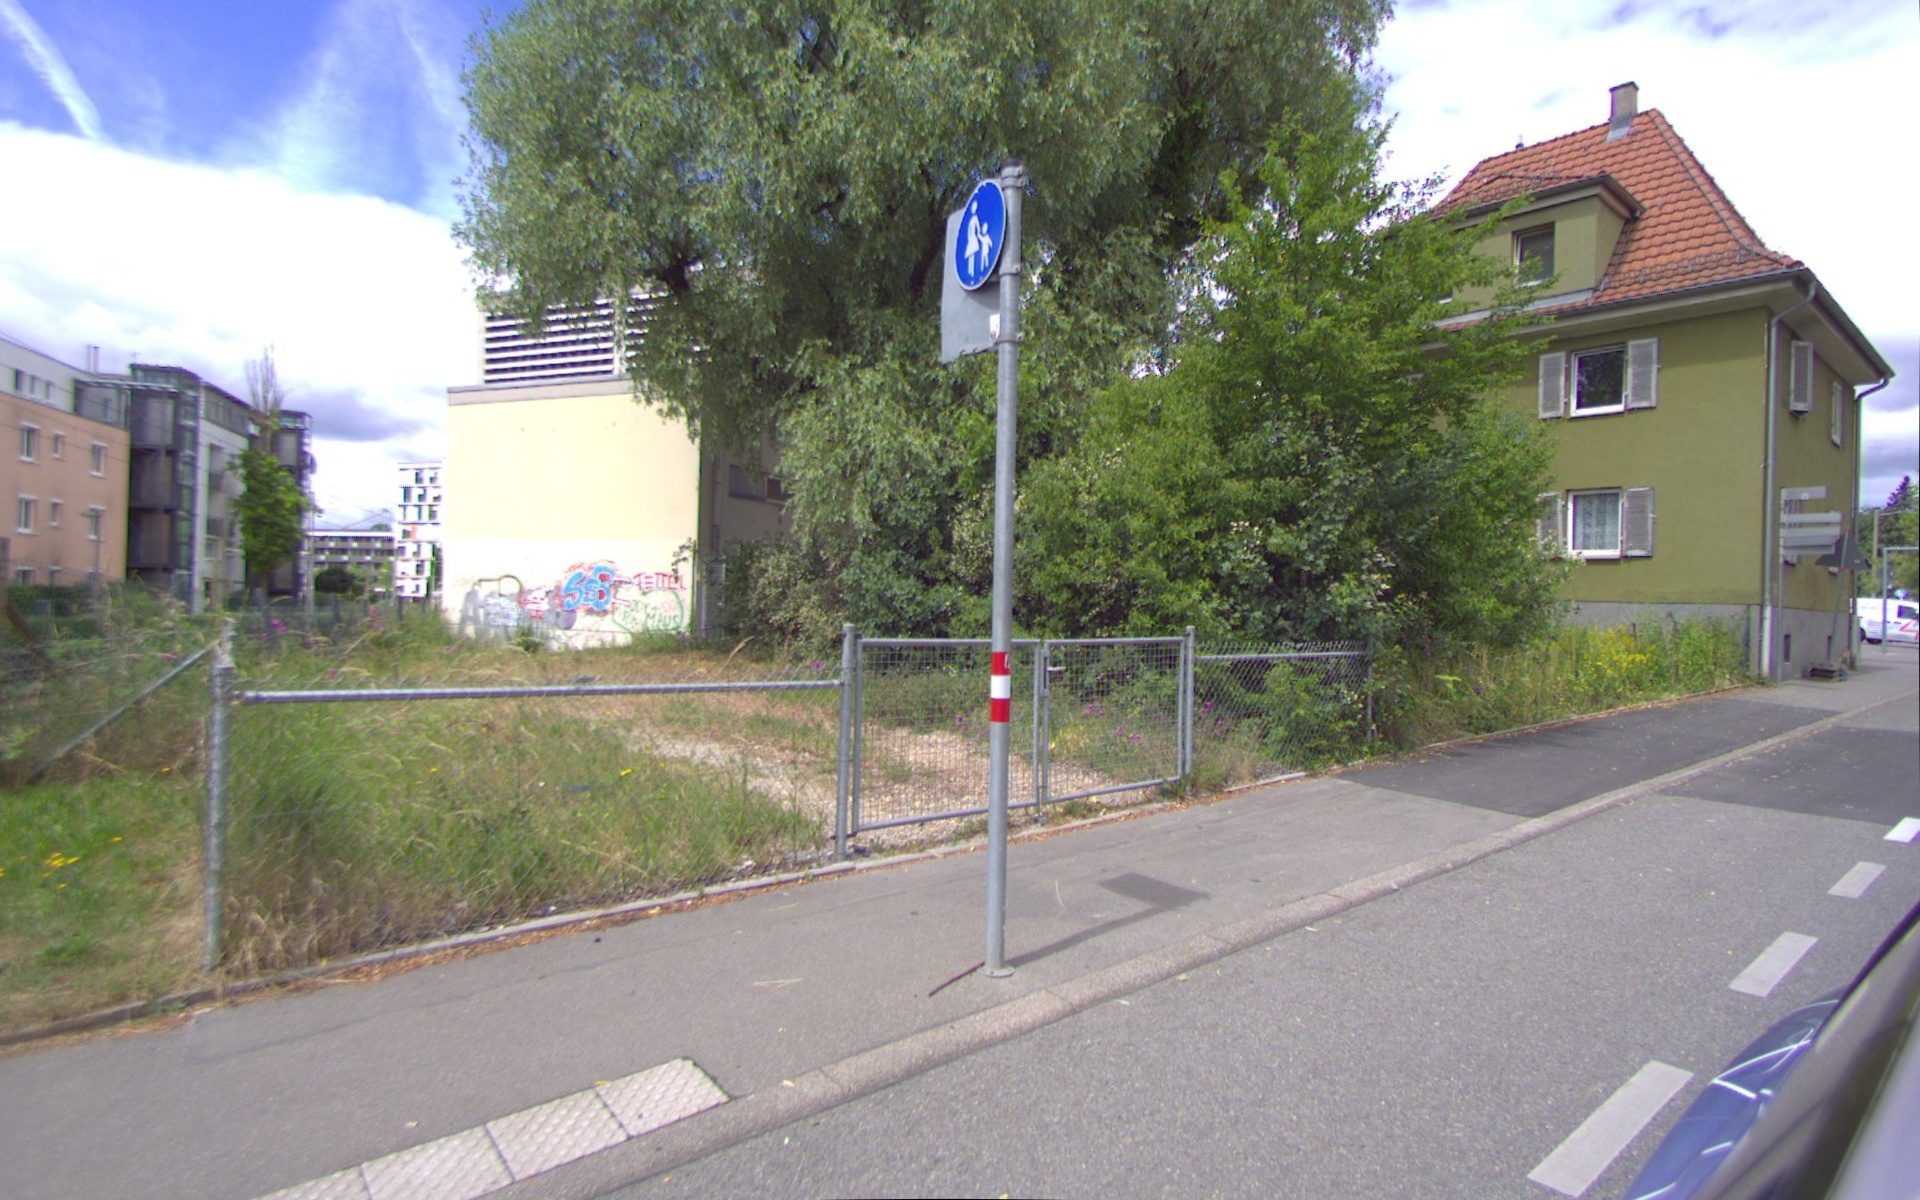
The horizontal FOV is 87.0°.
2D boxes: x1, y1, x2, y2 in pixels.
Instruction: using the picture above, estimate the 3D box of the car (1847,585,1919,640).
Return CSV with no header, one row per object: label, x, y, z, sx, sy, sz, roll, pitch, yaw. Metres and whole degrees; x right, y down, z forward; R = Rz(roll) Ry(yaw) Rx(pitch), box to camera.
car,37.209,0.499,38.771,1.958,2.019,4.379,1,1,-24
